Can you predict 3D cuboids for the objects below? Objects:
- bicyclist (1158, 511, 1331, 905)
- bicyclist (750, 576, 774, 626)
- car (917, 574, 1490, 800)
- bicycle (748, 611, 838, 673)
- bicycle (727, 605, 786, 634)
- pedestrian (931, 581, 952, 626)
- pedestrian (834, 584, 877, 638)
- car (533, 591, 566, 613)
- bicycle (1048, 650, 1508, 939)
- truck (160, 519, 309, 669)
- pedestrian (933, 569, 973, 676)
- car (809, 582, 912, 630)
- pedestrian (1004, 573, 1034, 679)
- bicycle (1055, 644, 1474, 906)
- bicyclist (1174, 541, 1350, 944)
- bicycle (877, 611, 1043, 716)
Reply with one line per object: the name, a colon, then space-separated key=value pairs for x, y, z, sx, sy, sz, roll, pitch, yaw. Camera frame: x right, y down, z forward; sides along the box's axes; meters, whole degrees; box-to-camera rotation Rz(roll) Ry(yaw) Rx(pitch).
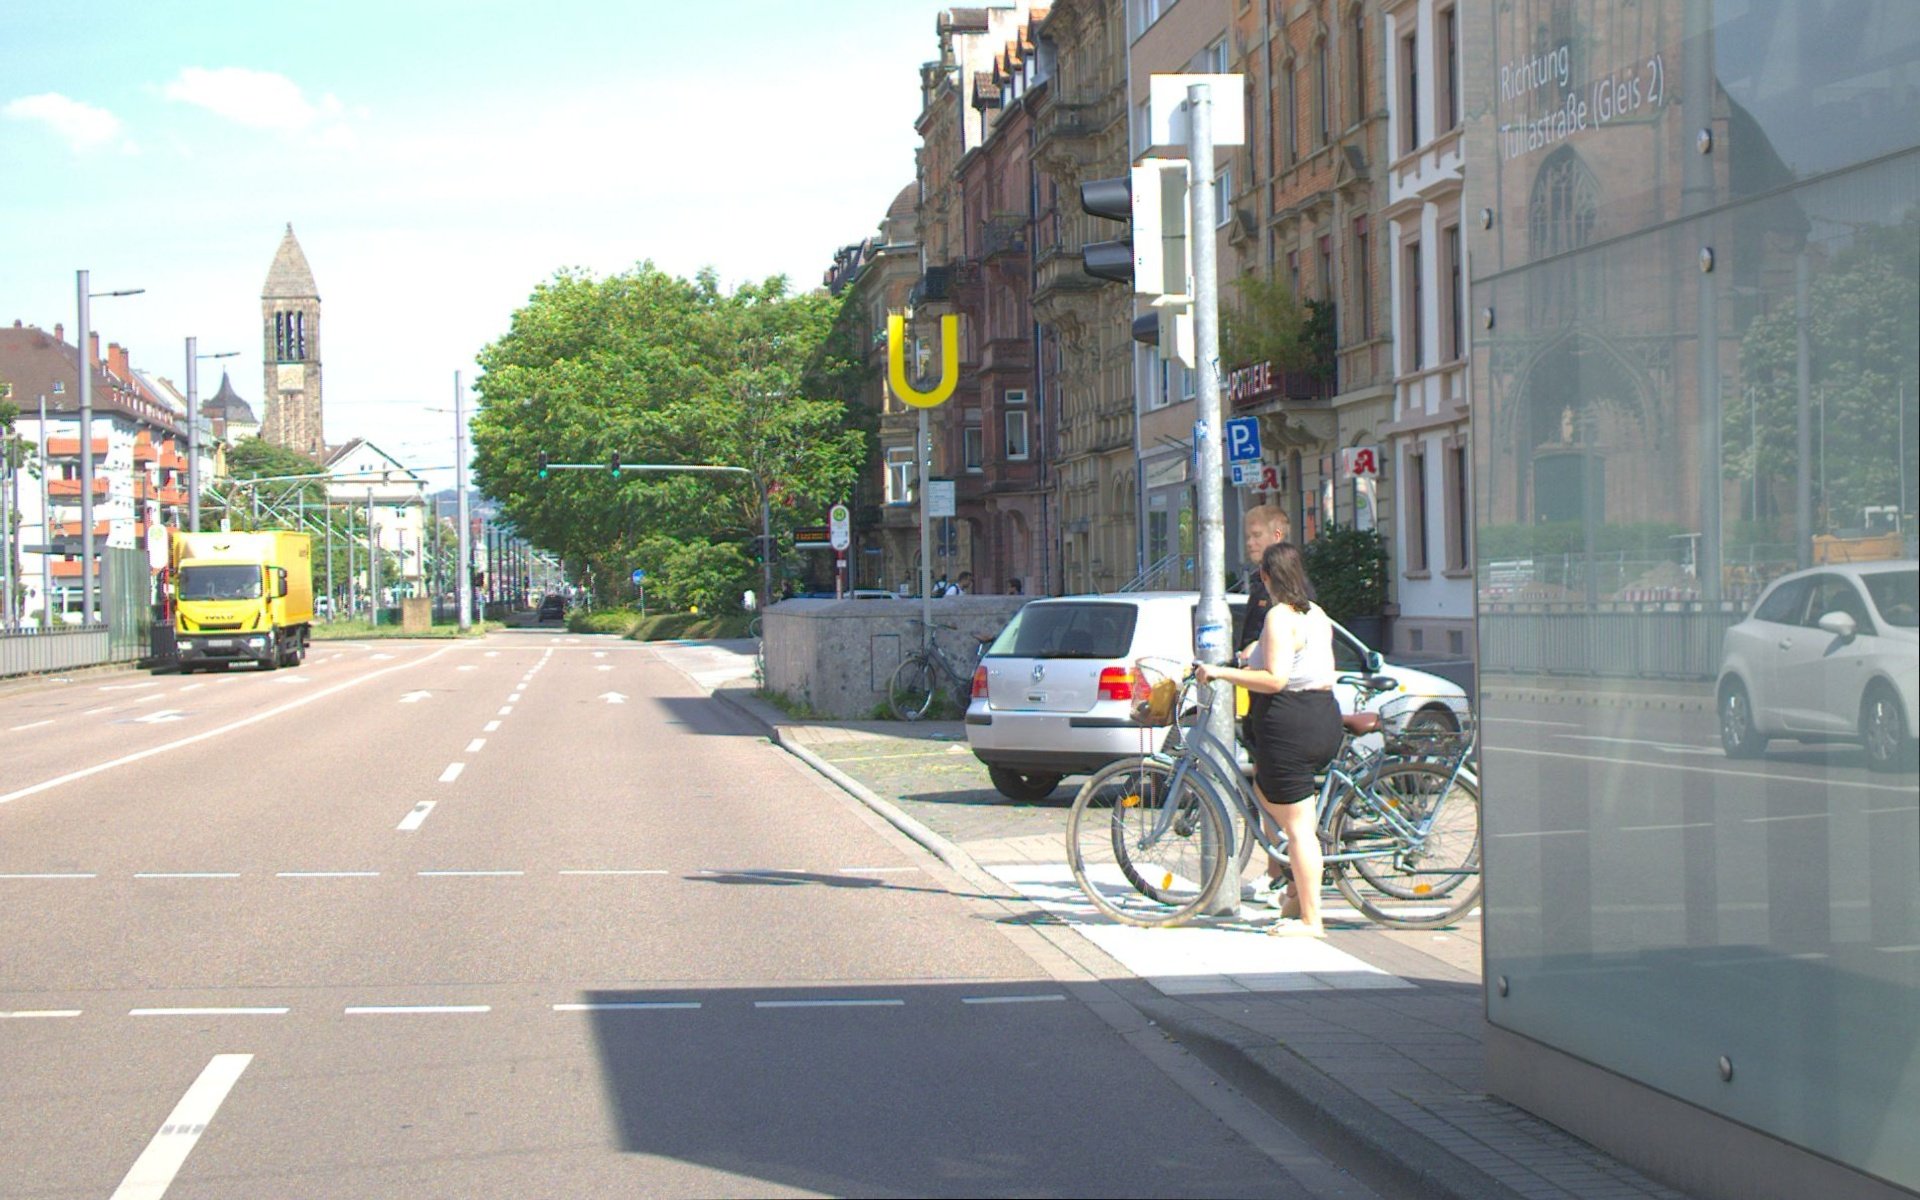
bicyclist: x=1.272 y=0.474 z=15.439 sx=0.615 sy=1.729 sz=0.584 roll=0 pitch=0 yaw=-12
bicyclist: x=-6.321 y=0.032 z=109.865 sx=0.639 sy=1.586 sz=0.483 roll=-1 pitch=2 yaw=-21
car: x=1.768 y=0.582 z=24.019 sx=1.812 sy=1.435 sz=3.989 roll=1 pitch=0 yaw=45
bicycle: x=-2.776 y=0.692 z=57.174 sx=1.460 sy=0.972 sz=0.416 roll=-1 pitch=3 yaw=-6
bicycle: x=-6.511 y=0.613 z=109.815 sx=1.818 sy=0.860 sz=0.483 roll=-1 pitch=2 yaw=-21
pedestrian: x=-0.585 y=0.111 z=108.267 sx=0.532 sy=1.402 sz=0.491 roll=-1 pitch=3 yaw=-12
pedestrian: x=-2.576 y=0.264 z=85.019 sx=0.947 sy=1.320 sz=0.823 roll=-1 pitch=0 yaw=-8
car: x=-25.812 y=0.127 z=215.932 sx=1.899 sy=1.371 sz=3.816 roll=-1 pitch=0 yaw=-9
bicycle: x=1.312 y=0.776 z=14.056 sx=1.792 sy=1.127 sz=0.754 roll=-1 pitch=0 yaw=12
truck: x=-17.464 y=-0.133 z=83.243 sx=2.542 sy=3.287 sz=9.030 roll=-4 pitch=0 yaw=-7
pedestrian: x=-0.110 y=0.351 z=54.298 sx=0.552 sy=1.660 sz=0.525 roll=-1 pitch=0 yaw=-6
car: x=-4.001 y=0.227 z=137.309 sx=3.986 sy=1.743 sz=2.001 roll=-1 pitch=3 yaw=-4
pedestrian: x=0.930 y=0.405 z=54.241 sx=0.371 sy=1.660 sz=0.525 roll=-1 pitch=0 yaw=-6
bicycle: x=1.374 y=0.774 z=15.587 sx=1.790 sy=1.127 sz=0.584 roll=0 pitch=0 yaw=-12
bicyclist: x=1.218 y=0.556 z=13.771 sx=0.611 sy=1.567 sz=0.733 roll=-1 pitch=0 yaw=12
bicycle: x=-0.005 y=0.687 z=37.711 sx=1.742 sy=1.090 sz=0.597 roll=-1 pitch=1 yaw=-6
